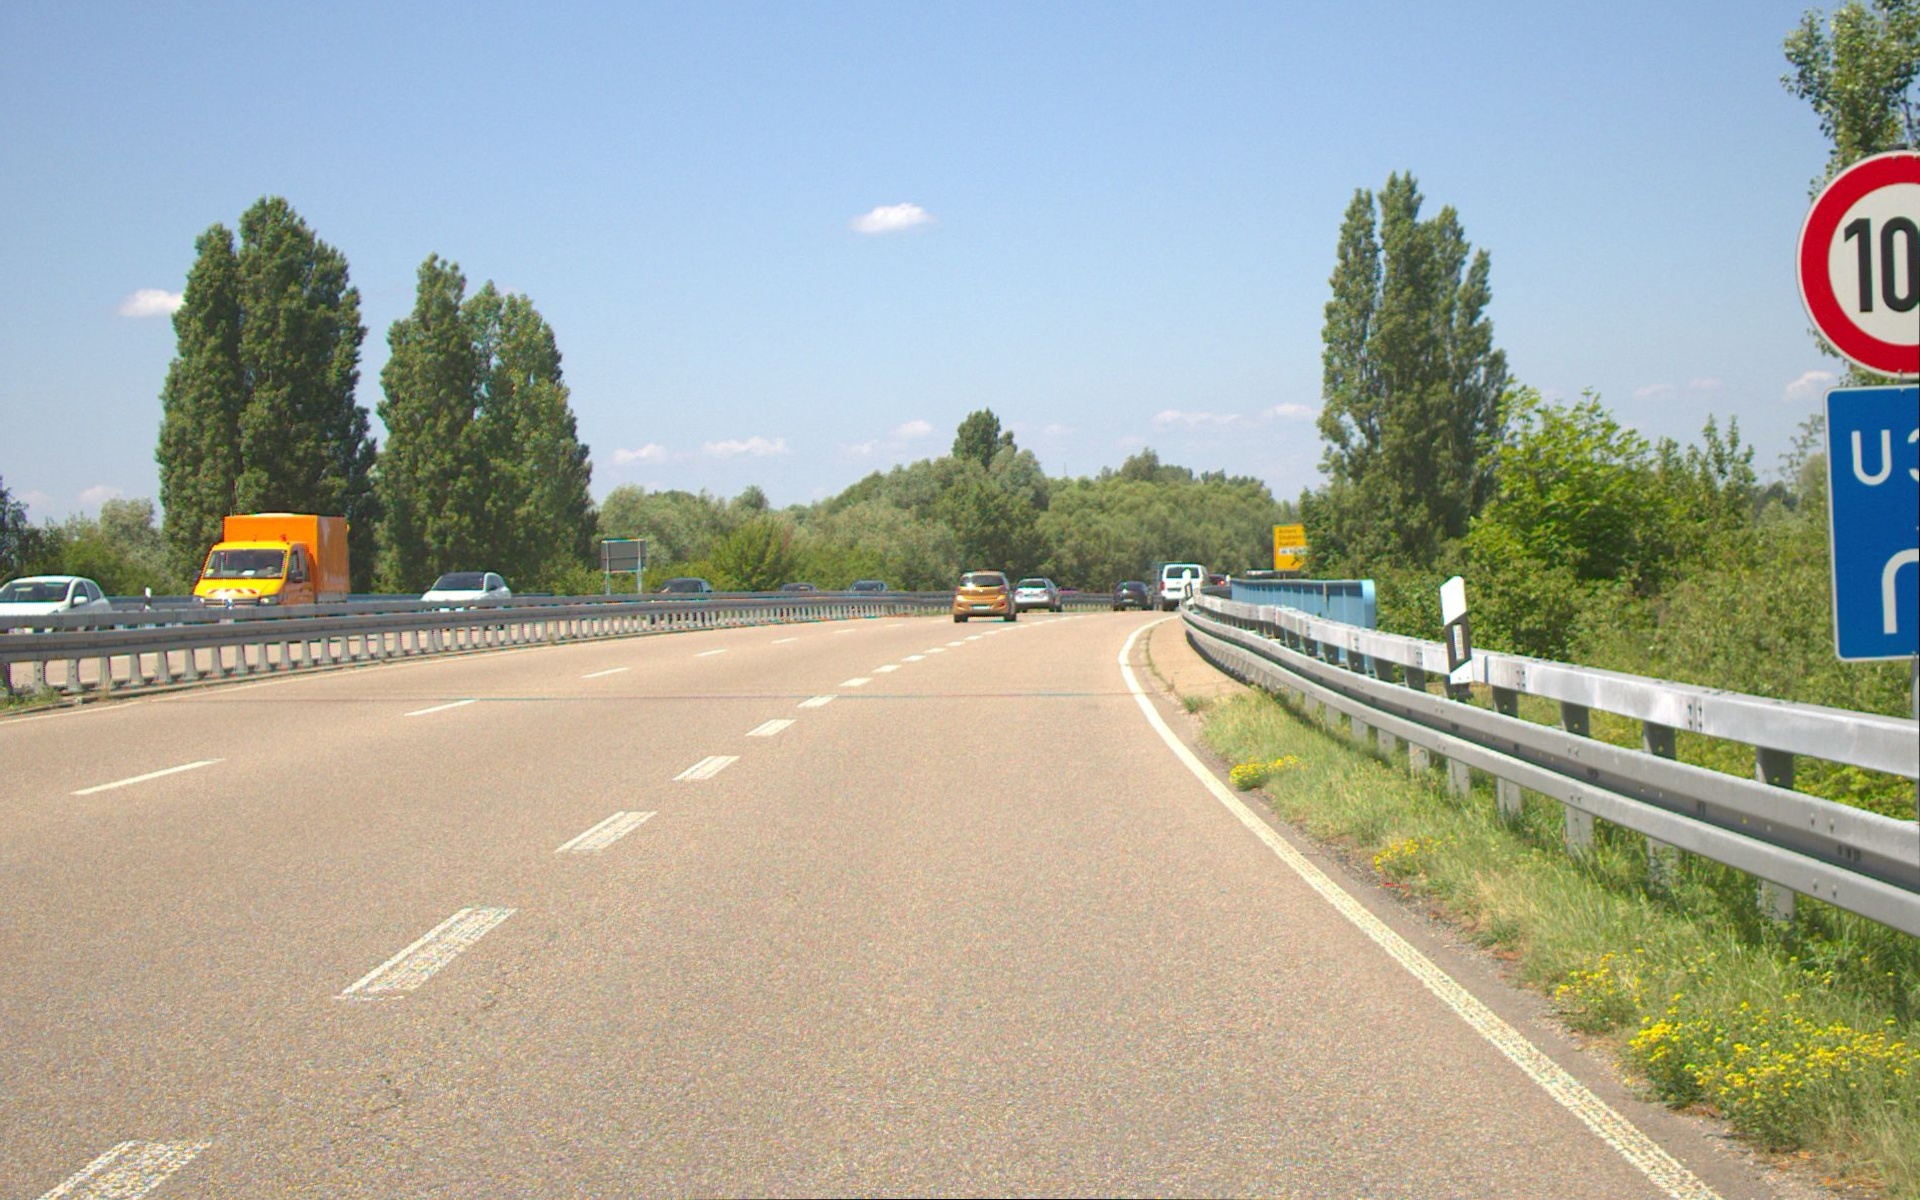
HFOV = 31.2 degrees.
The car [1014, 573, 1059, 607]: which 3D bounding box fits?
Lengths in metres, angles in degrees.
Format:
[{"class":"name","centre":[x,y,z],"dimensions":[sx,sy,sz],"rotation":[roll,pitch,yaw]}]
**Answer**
[{"class":"car","centre":[3.414,-0.466,152.172],"dimensions":[1.841,1.446,4.000],"rotation":[0,1,3]}]

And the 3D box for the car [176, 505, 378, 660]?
[{"class":"car","centre":[-15.245,-0.411,77.210],"dimensions":[2.306,3.280,7.026],"rotation":[-1,0,7]}]

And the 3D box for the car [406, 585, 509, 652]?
[{"class":"car","centre":[-14.114,0.521,96.767],"dimensions":[1.853,1.812,4.794],"rotation":[-1,-1,4]}]

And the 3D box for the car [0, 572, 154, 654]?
[{"class":"car","centre":[-16.607,0.220,63.572],"dimensions":[1.853,1.427,4.794],"rotation":[-1,0,5]}]

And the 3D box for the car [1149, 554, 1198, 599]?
[{"class":"car","centre":[9.015,-0.995,144.767],"dimensions":[1.842,1.889,3.999],"rotation":[0,1,7]}]

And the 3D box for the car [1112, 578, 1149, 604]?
[{"class":"car","centre":[9.750,-0.531,196.405],"dimensions":[1.944,1.459,3.999],"rotation":[0,1,5]}]

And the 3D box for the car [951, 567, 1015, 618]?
[{"class":"car","centre":[0.683,-0.232,102.100],"dimensions":[1.841,1.459,4.000],"rotation":[0,1,0]}]
